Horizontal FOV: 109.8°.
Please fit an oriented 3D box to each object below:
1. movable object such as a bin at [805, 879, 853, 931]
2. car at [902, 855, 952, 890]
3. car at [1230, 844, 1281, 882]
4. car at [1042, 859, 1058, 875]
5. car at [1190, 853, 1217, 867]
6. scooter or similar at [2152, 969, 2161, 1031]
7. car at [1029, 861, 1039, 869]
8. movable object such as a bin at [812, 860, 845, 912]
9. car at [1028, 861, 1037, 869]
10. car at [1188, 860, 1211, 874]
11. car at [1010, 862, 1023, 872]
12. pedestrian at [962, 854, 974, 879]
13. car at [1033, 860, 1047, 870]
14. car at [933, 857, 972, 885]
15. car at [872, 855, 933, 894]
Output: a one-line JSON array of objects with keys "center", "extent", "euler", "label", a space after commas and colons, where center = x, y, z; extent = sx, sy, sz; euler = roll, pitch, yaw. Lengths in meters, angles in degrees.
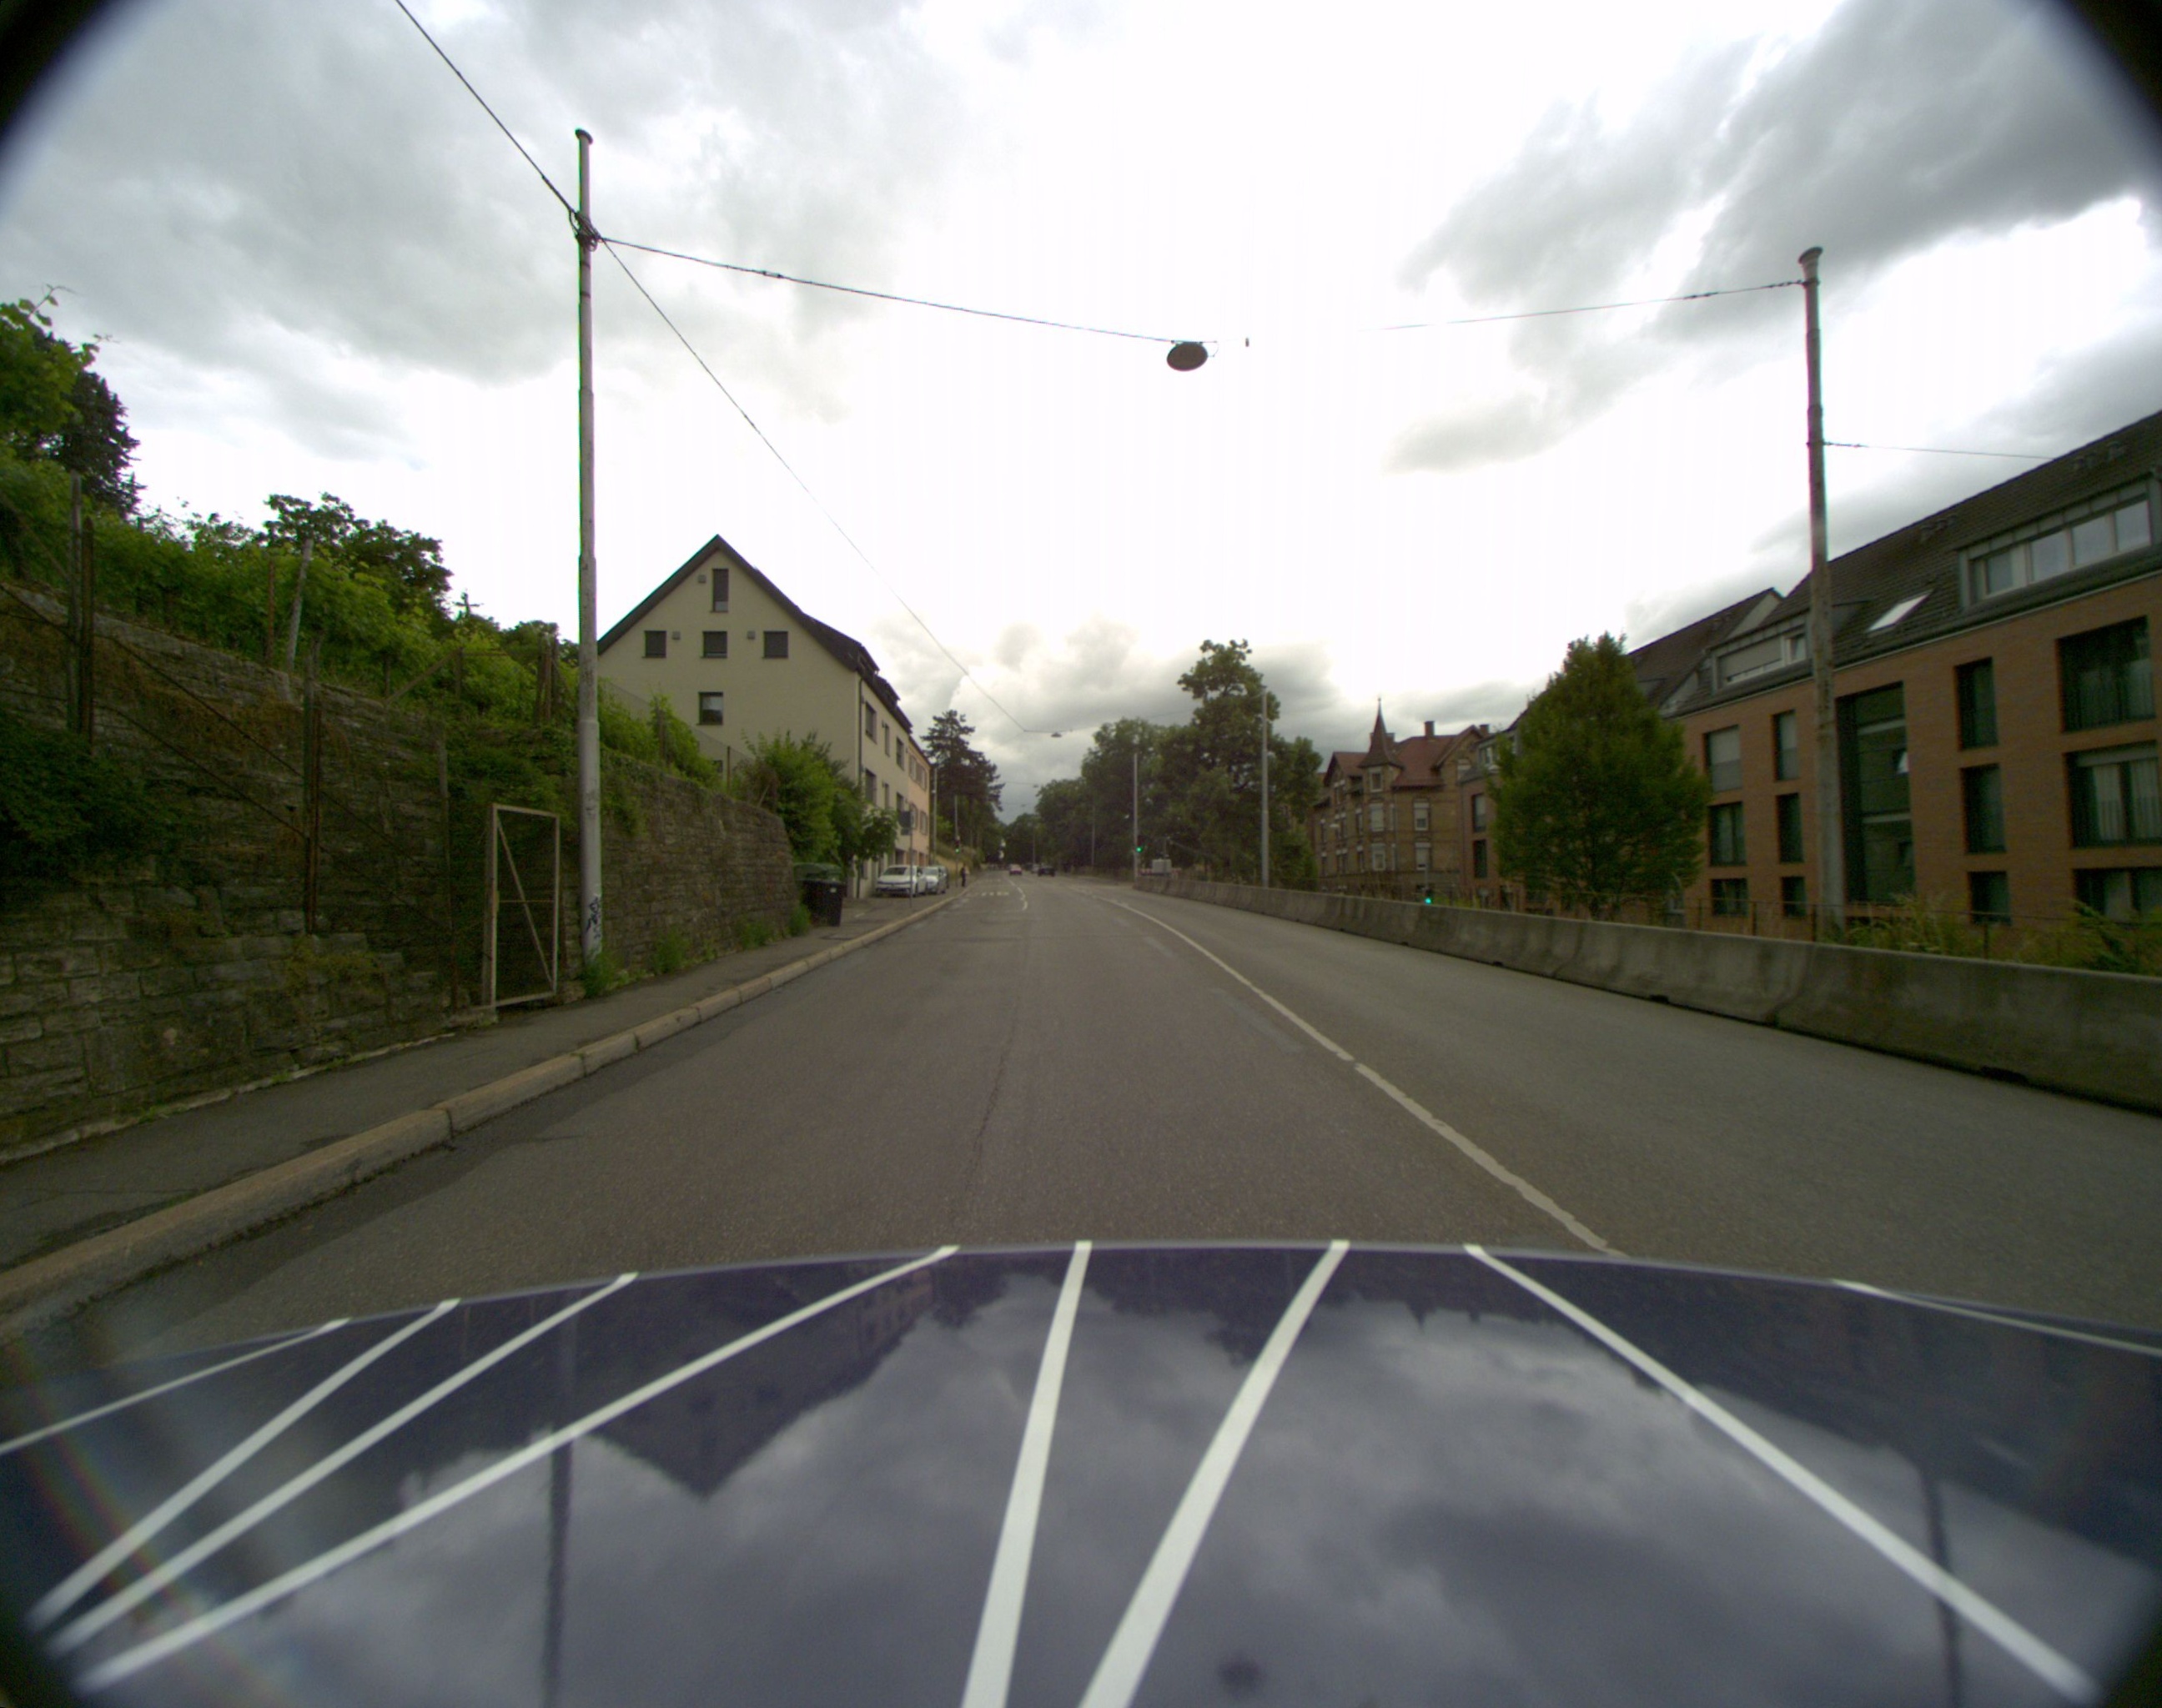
[{"center": [-5.792, 1.168, 17.519], "extent": [0.811, 1.120, 0.874], "euler": [-1, 0, -2], "label": "movable object such as a bin"}, {"center": [-7.799, 0.907, 38.849], "extent": [1.732, 1.566, 4.248], "euler": [-2, 1, -1], "label": "car"}, {"center": [12.817, 0.603, 56.256], "extent": [2.565, 2.567, 5.736], "euler": [-2, 1, 2], "label": "car"}, {"center": [-3.948, 1.613, 95.824], "extent": [1.787, 1.871, 3.999], "euler": [-1, 0, -4], "label": "car"}, {"center": [12.036, 0.570, 74.955], "extent": [1.999, 1.346, 4.000], "euler": [1, 0, -1], "label": "car"}, {"center": [22.197, 2.955, 14.976], "extent": [0.379, 1.234, 1.227], "euler": [-1, -2, 1], "label": "scooter or similar"}, {"center": [-9.514, 2.192, 154.886], "extent": [1.999, 1.652, 3.999], "euler": [-1, 0, -4], "label": "car"}, {"center": [-7.639, 0.952, 23.033], "extent": [0.753, 1.533, 1.064], "euler": [-1, 0, -8], "label": "movable object such as a bin"}, {"center": [-10.483, 2.380, 165.100], "extent": [1.999, 1.838, 3.999], "euler": [-1, 0, -3], "label": "car"}, {"center": [13.653, 1.477, 87.576], "extent": [1.999, 1.543, 4.000], "euler": [-1, 0, -1], "label": "car"}, {"center": [-8.886, 1.797, 105.177], "extent": [1.646, 1.429, 3.999], "euler": [-1, -1, -3], "label": "car"}, {"center": [-7.898, 0.880, 53.075], "extent": [0.735, 1.702, 0.696], "euler": [-1, 0, 2], "label": "pedestrian"}, {"center": [-6.846, 1.805, 127.399], "extent": [1.998, 1.652, 4.000], "euler": [-1, 0, 1], "label": "car"}, {"center": [-7.938, 0.994, 47.339], "extent": [1.909, 1.566, 4.247], "euler": [-2, 1, -3], "label": "car"}, {"center": [-7.923, 0.853, 34.125], "extent": [1.799, 1.566, 4.055], "euler": [-2, 1, -1], "label": "car"}]
